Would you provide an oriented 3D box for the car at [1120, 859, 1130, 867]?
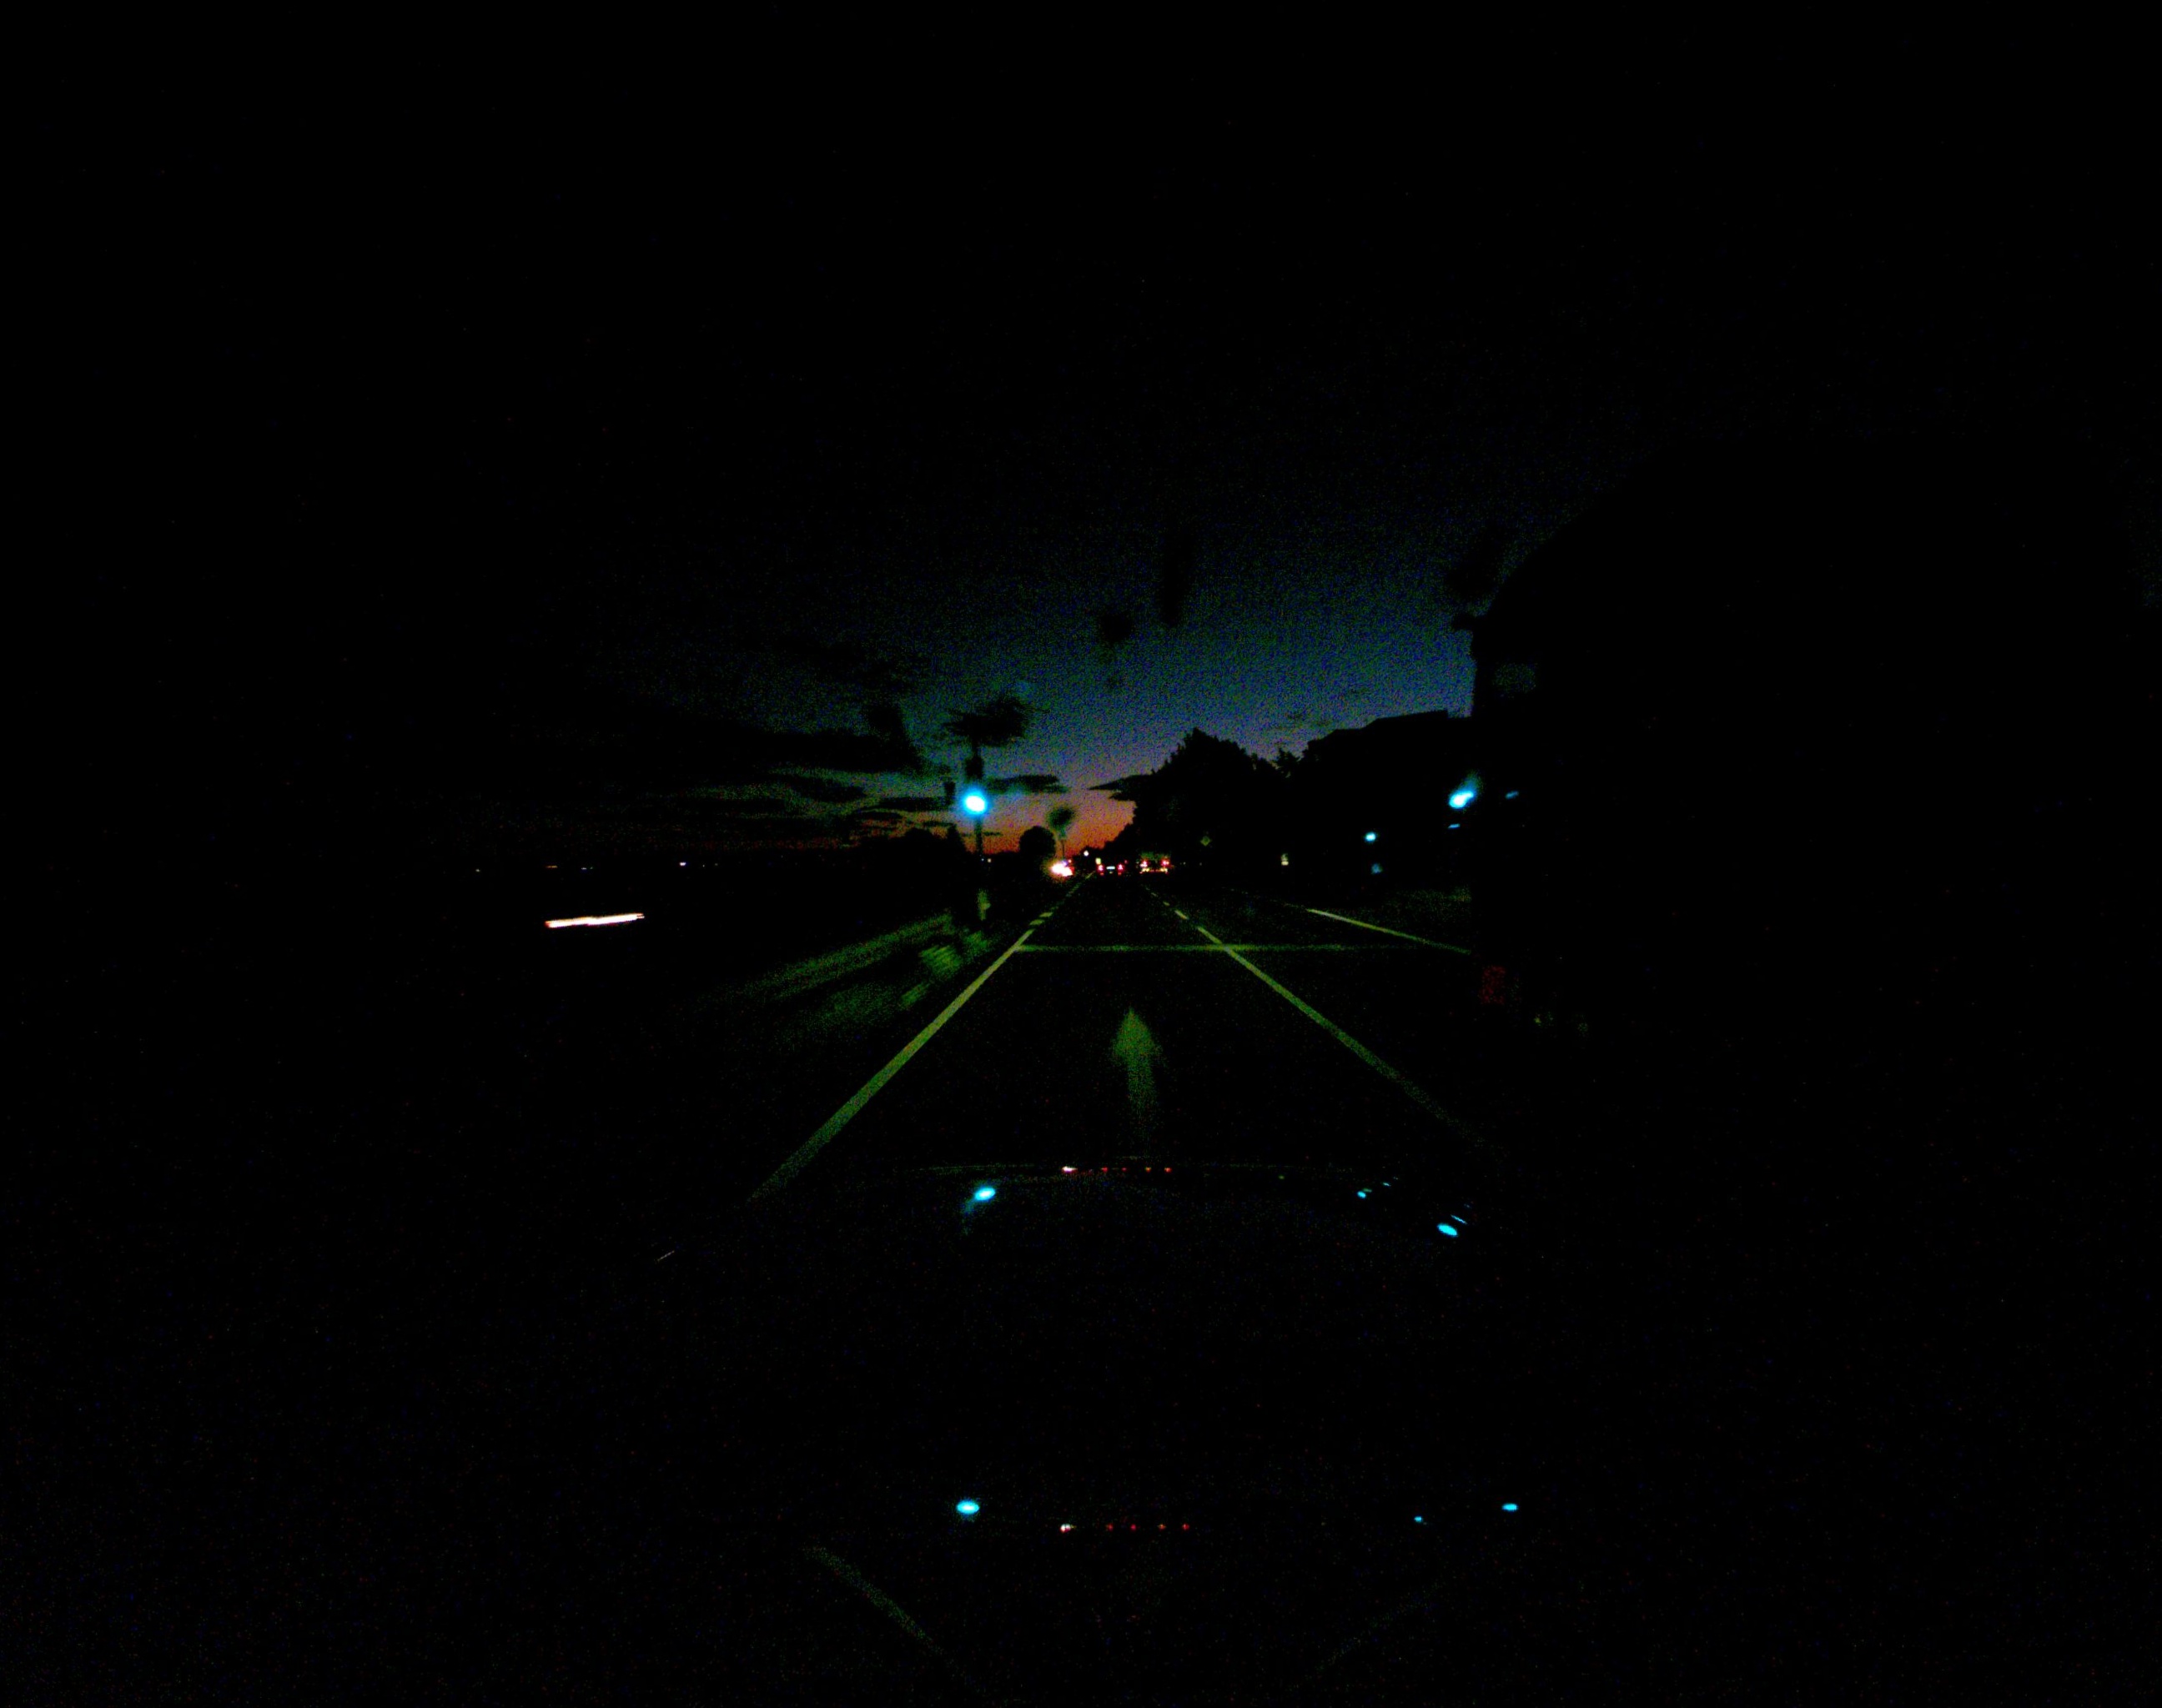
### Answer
[{"bbox_3d":[8.595,1.727,160.128,1.690,1.452,3.914,-1,0,0],"label":"car"}]

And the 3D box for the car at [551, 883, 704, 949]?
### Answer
[{"bbox_3d":[-11.398,1.501,20.800,1.600,1.330,3.939,-3,0,0],"label":"car"}]

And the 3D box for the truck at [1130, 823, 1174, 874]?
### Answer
[{"bbox_3d":[6.157,-0.388,72.533,2.873,4.106,12.683,-1,0,0],"label":"truck"}]

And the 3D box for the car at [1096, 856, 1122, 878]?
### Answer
[{"bbox_3d":[1.911,0.886,56.317,1.690,1.452,3.914,-1,0,0],"label":"car"}]
